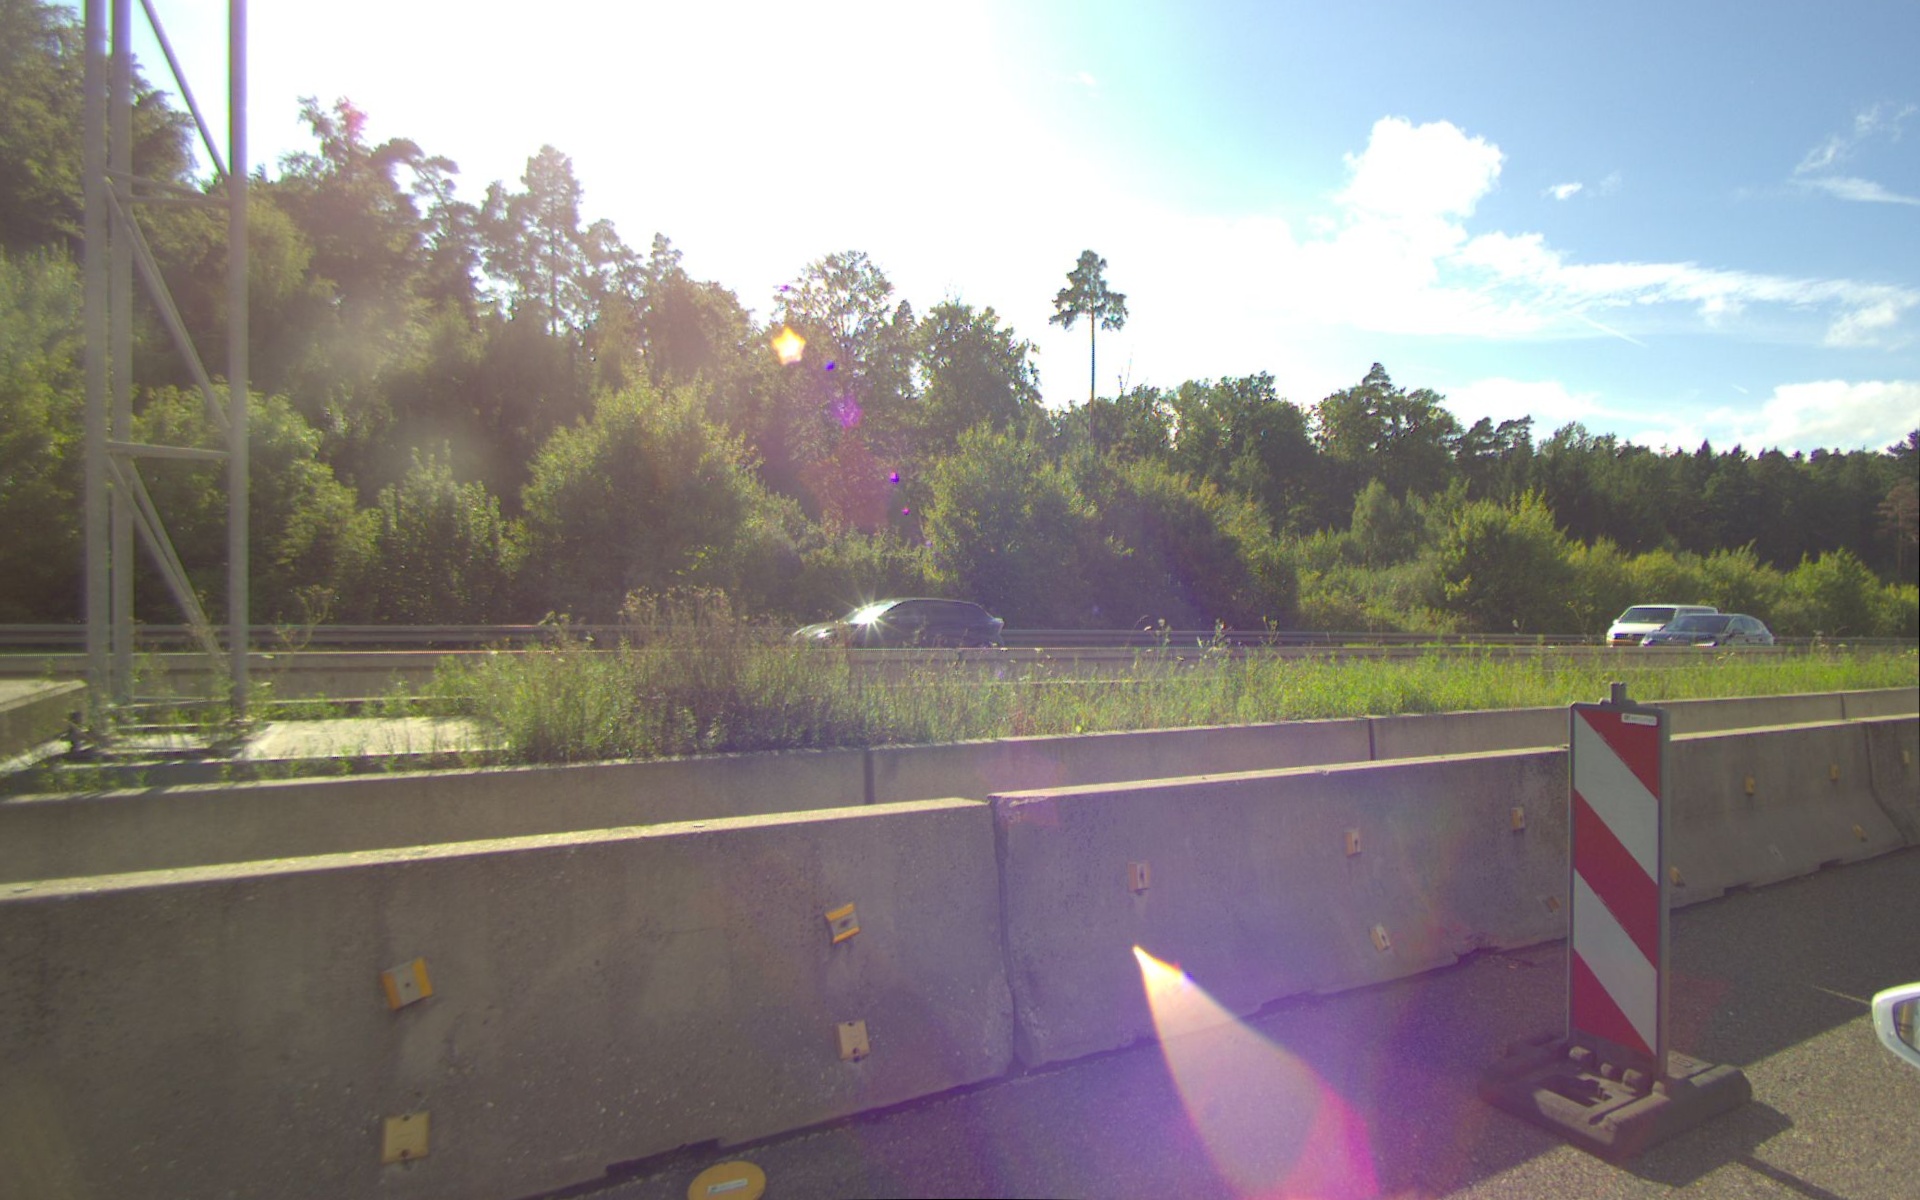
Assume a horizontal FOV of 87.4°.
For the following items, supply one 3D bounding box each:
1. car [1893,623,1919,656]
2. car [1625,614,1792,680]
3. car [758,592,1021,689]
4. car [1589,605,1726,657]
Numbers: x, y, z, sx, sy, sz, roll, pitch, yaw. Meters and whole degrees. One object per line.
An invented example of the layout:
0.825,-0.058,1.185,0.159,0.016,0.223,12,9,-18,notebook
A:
49.610,2.040,51.157,4.894,1.624,1.957,1,0,-33,car
20.550,1.266,27.531,4.890,1.624,1.958,1,0,-31,car
-1.262,0.727,18.865,4.622,1.624,1.769,1,0,-31,car
23.534,1.046,33.844,4.890,1.624,1.958,1,0,-31,car
